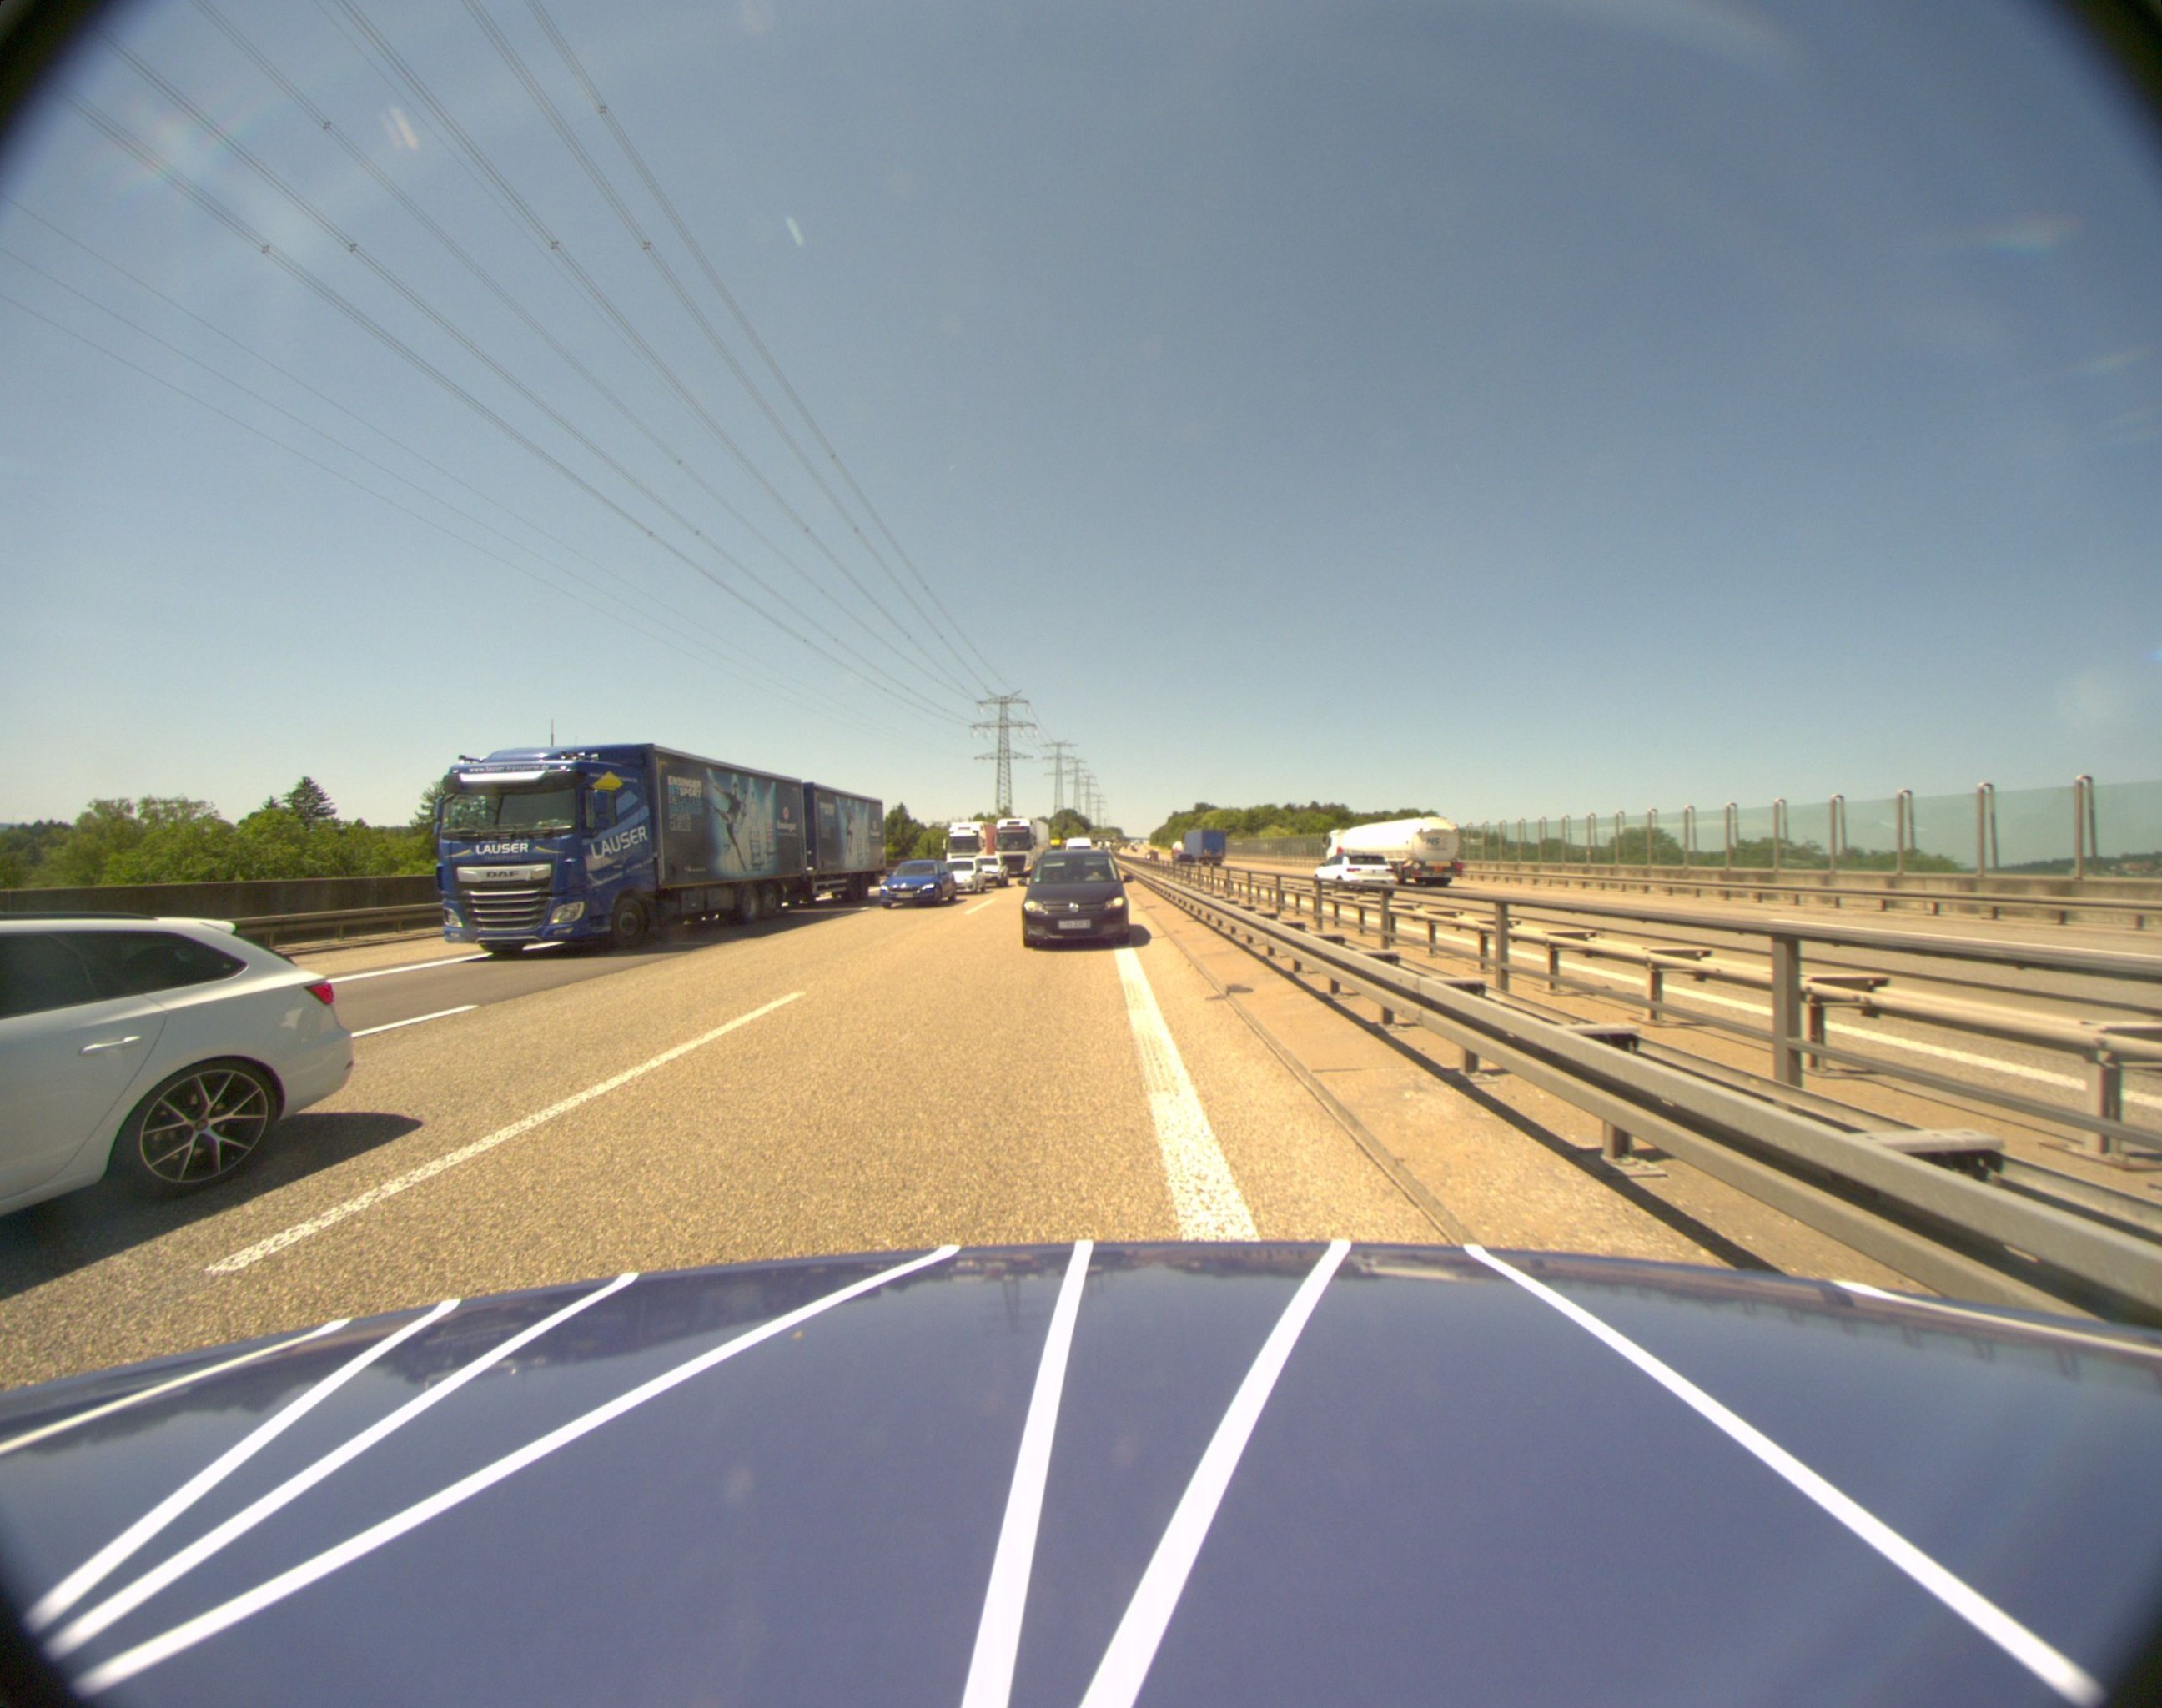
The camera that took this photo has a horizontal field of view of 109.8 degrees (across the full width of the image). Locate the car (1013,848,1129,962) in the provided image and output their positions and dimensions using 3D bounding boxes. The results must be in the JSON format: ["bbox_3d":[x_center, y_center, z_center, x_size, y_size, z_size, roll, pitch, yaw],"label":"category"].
[{"bbox_3d":[-0.124,0.770,13.646,1.712,1.669,3.931,-2,1,1],"label":"car"}]

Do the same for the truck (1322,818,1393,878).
[{"bbox_3d":[17.137,-0.397,47.435,2.526,3.515,5.329,0,1,2],"label":"truck"}]

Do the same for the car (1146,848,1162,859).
[{"bbox_3d":[11.138,-0.137,115.838,1.886,1.543,4.188,-2,1,0],"label":"car"}]

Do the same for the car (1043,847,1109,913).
[{"bbox_3d":[-0.105,0.684,22.362,1.712,1.669,3.931,-2,1,1],"label":"car"}]

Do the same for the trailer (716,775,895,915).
[{"bbox_3d":[-9.285,-0.332,26.999,2.835,4.066,8.637,-2,1,2],"label":"trailer"}]

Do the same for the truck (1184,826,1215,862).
[{"bbox_3d":[13.820,-1.158,88.893,2.760,4.093,6.264,0,1,1],"label":"truck"}]

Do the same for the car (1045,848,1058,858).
[{"bbox_3d":[-4.933,-0.174,127.426,1.924,1.501,3.996,-2,1,2],"label":"car"}]

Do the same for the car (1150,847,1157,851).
[{"bbox_3d":[24.552,-1.730,257.238,1.786,1.412,4.000,2,1,1],"label":"car"}]

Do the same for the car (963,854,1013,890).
[{"bbox_3d":[-4.413,0.811,36.637,1.712,1.501,4.144,-2,1,2],"label":"car"}]

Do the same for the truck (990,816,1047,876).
[{"bbox_3d":[-4.231,-0.576,53.561,2.849,3.804,8.265,-2,1,3],"label":"truck"}]

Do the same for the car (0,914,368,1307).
[{"bbox_3d":[-5.187,1.115,2.349,1.713,1.443,4.429,-2,0,0],"label":"car"}]

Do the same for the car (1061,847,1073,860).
[{"bbox_3d":[-2.280,-0.117,125.436,1.704,2.116,4.000,2,1,1],"label":"car"}]

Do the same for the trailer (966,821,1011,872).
[{"bbox_3d":[-7.963,-0.664,66.643,2.608,4.094,9.083,-2,1,1],"label":"trailer"}]

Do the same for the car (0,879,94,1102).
[{"bbox_3d":[-8.880,1.088,4.114,1.713,1.645,4.116,-2,1,-3],"label":"car"}]

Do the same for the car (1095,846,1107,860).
[{"bbox_3d":[3.181,-0.138,120.152,1.704,2.116,4.000,-2,1,1],"label":"car"}]

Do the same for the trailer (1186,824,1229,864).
[{"bbox_3d":[13.782,-1.130,83.750,2.711,4.141,12.048,0,1,0],"label":"trailer"}]

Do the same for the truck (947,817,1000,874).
[{"bbox_3d":[-8.069,-0.683,57.956,2.608,3.965,8.263,-2,1,1],"label":"truck"}]

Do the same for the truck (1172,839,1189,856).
[{"bbox_3d":[20.466,-1.339,156.573,2.915,3.395,6.294,1,1,2],"label":"truck"}]

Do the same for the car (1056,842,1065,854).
[{"bbox_3d":[-4.363,-1.365,162.819,1.704,2.525,4.000,2,1,1],"label":"car"}]

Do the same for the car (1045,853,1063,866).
[{"bbox_3d":[-3.402,0.736,97.023,1.924,1.501,3.996,-2,1,2],"label":"car"}]

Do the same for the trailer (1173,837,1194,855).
[{"bbox_3d":[20.228,-1.658,150.379,2.883,3.360,12.006,1,1,2],"label":"trailer"}]

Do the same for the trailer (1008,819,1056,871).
[{"bbox_3d":[-3.844,-0.778,62.239,2.822,3.830,9.085,-2,1,3],"label":"trailer"}]

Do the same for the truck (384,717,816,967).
[{"bbox_3d":[-9.568,-0.259,17.443,2.859,3.927,10.393,-2,1,2],"label":"truck"}]

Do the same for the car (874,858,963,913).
[{"bbox_3d":[-5.148,0.946,24.707,1.712,1.443,4.563,-2,1,2],"label":"car"}]

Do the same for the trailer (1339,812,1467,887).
[{"bbox_3d":[17.011,-0.308,41.261,2.505,3.520,10.902,0,1,1],"label":"trailer"}]

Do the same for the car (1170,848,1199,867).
[{"bbox_3d":[9.299,0.293,68.491,1.886,1.543,4.188,-2,1,0],"label":"car"}]

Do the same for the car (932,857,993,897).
[{"bbox_3d":[-4.869,0.898,31.636,1.712,1.443,4.144,-2,1,2],"label":"car"}]

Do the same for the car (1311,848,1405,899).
[{"bbox_3d":[9.652,0.627,26.812,1.811,1.630,3.999,1,1,0],"label":"car"}]

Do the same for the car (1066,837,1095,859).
[{"bbox_3d":[0.009,-0.452,55.878,1.924,1.501,3.996,-2,1,2],"label":"car"}]

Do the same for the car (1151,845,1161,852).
[{"bbox_3d":[16.250,-1.127,164.559,1.802,1.490,3.851,0,1,1],"label":"car"}]
